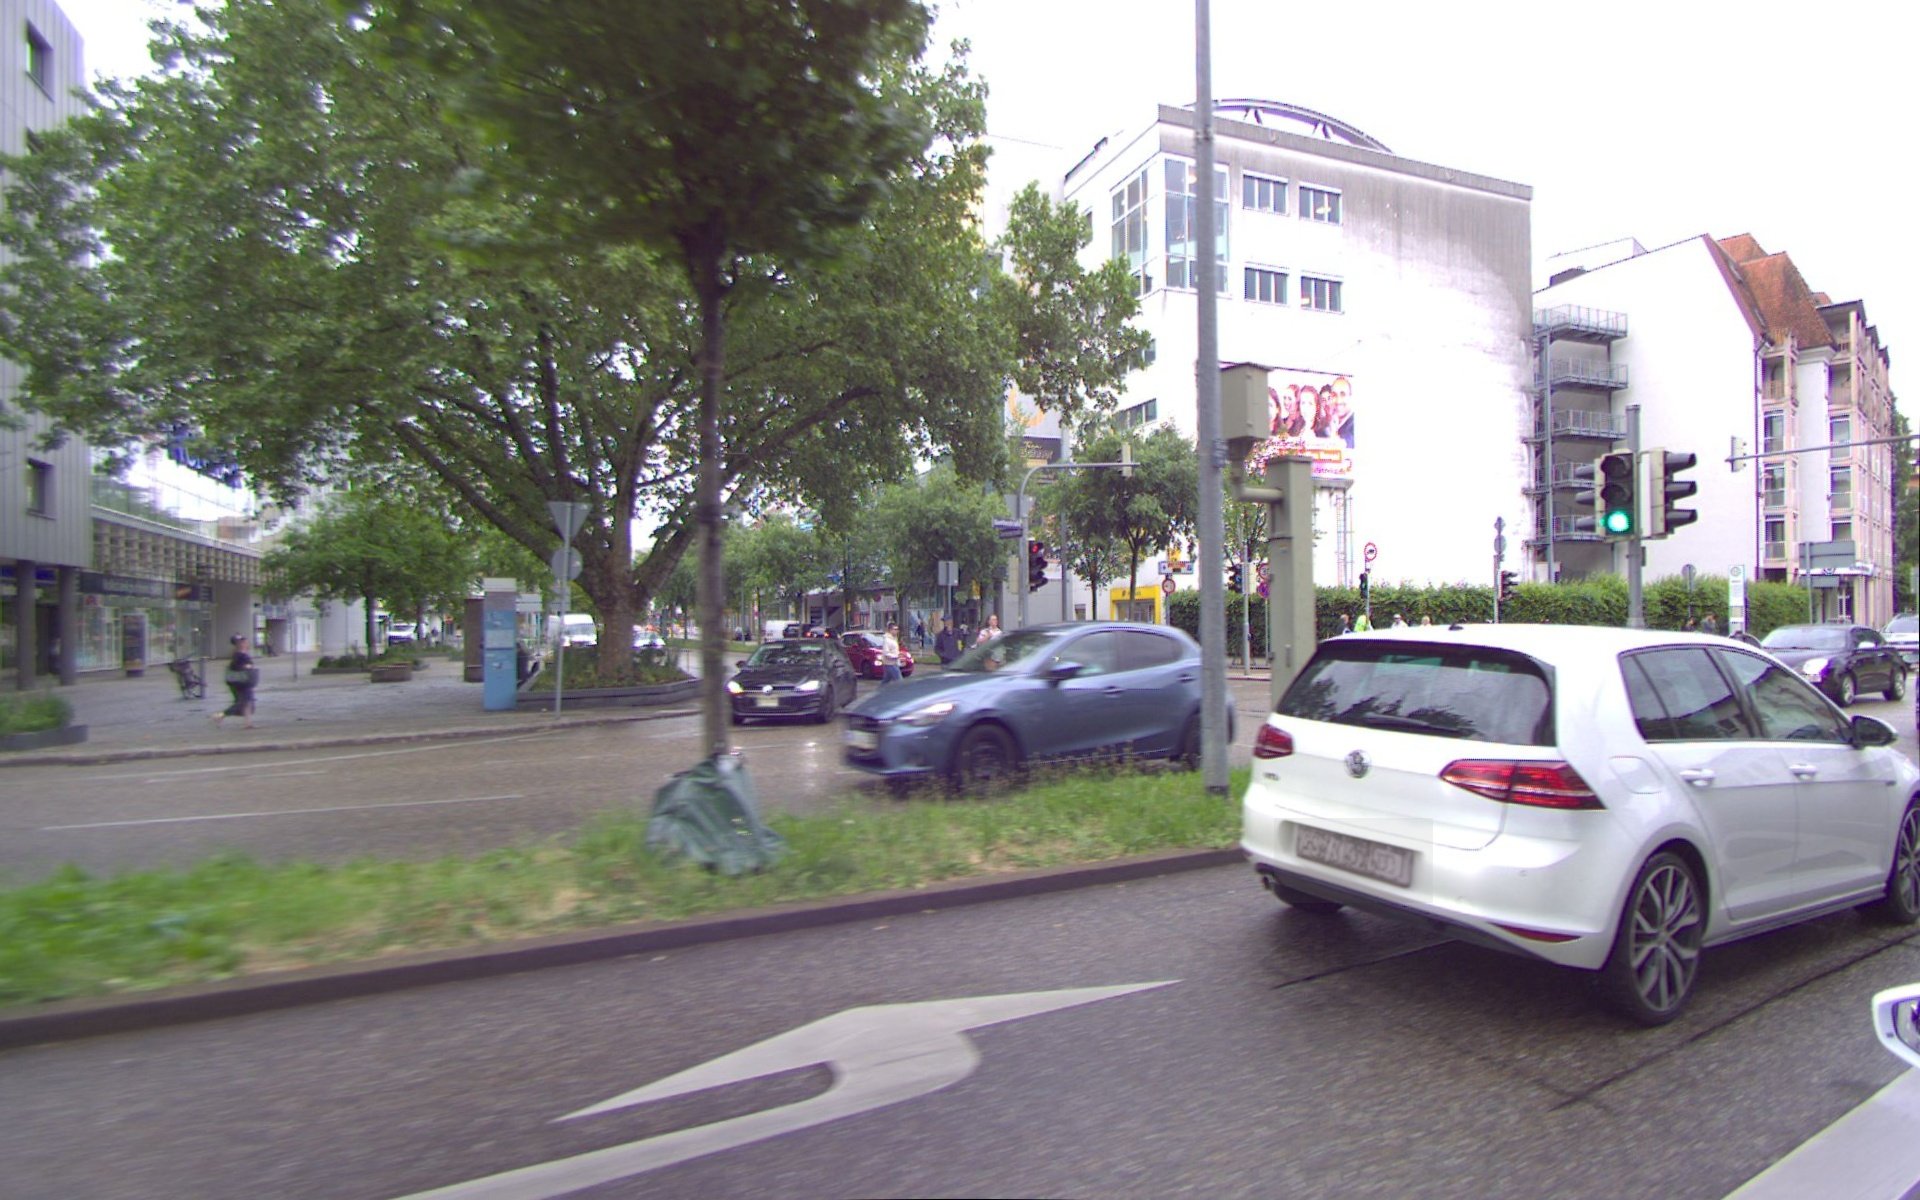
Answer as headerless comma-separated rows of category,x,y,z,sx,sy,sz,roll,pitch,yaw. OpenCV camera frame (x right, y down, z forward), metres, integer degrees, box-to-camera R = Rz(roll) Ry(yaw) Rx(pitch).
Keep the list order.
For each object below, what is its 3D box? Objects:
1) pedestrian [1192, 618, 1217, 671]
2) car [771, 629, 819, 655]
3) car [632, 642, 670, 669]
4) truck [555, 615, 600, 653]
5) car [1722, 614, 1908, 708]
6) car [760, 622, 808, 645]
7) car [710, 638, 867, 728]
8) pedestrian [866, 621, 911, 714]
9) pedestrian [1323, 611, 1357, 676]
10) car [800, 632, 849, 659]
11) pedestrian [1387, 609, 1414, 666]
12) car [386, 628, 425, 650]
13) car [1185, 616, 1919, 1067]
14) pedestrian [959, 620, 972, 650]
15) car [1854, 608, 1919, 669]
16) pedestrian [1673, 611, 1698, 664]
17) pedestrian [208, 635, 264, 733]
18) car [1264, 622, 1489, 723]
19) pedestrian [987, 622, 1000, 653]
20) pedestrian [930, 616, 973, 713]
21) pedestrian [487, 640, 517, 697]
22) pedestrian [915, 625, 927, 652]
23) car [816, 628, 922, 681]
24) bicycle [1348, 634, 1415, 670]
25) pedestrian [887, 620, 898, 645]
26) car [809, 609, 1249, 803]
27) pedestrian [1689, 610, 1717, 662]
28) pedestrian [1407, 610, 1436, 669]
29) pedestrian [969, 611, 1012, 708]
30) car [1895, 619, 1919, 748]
pedestrian,8.489,1.551,34.804,0.778,1.804,0.653,1,-2,16
car,-11.955,3.044,73.091,1.907,1.684,3.876,3,-1,15
car,-18.303,3.255,59.433,1.837,1.483,3.979,0,-2,-22
truck,-23.821,2.101,62.457,1.974,2.183,6.661,0,-1,-27
car,15.886,1.069,18.637,3.619,1.576,1.614,0,-2,-32
car,-13.426,2.556,76.951,1.908,1.684,3.874,3,-1,20
car,-2.946,1.438,18.238,1.895,1.414,4.429,0,-3,3
pedestrian,-1.524,1.439,21.519,0.844,1.931,0.827,2,-2,1
pedestrian,10.573,1.212,27.943,0.587,1.787,0.642,4,-3,-35
car,-9.290,3.141,69.321,1.907,1.684,3.876,3,-1,15
pedestrian,14.068,1.198,32.058,0.586,1.788,0.524,0,2,-32
car,-47.763,3.351,86.584,1.884,1.773,3.800,3,-2,-14
car,3.202,0.845,5.033,3.955,1.428,1.756,2,-1,-32
pedestrian,0.284,1.896,54.236,0.521,1.621,0.555,0,-1,-24
car,28.966,1.161,30.294,4.262,1.759,1.818,1,-2,-32
pedestrian,24.916,1.281,34.488,0.624,1.787,0.523,3,-3,-34
pedestrian,-12.470,1.432,17.319,0.692,1.627,0.675,-1,-2,-29
car,7.035,1.174,16.931,3.600,1.535,1.664,1,-3,-31
pedestrian,1.781,2.002,53.647,0.521,1.621,0.555,0,-1,-24
pedestrian,-0.165,1.201,19.023,0.669,1.787,0.409,-1,0,-32
pedestrian,-11.883,1.768,26.075,0.515,1.424,0.549,-1,-2,-4
pedestrian,-2.349,2.303,60.127,0.521,1.621,0.555,0,-1,-24
car,-3.055,1.758,33.068,1.685,1.607,3.960,-1,-1,-36
bicycle,14.026,1.721,33.448,2.021,1.125,0.651,0,-1,-11
pedestrian,-4.434,2.158,65.889,0.521,1.621,0.694,0,-1,-24
car,0.710,0.921,9.546,3.912,1.498,1.705,2,-4,-31
pedestrian,26.323,1.283,35.581,0.586,1.787,0.638,3,-3,-34
pedestrian,14.457,1.232,31.449,0.586,1.788,0.524,1,1,-32
pedestrian,0.591,1.164,19.579,0.670,1.861,0.444,3,-3,-35
car,13.194,1.010,12.861,1.676,1.494,3.670,-1,-1,42
